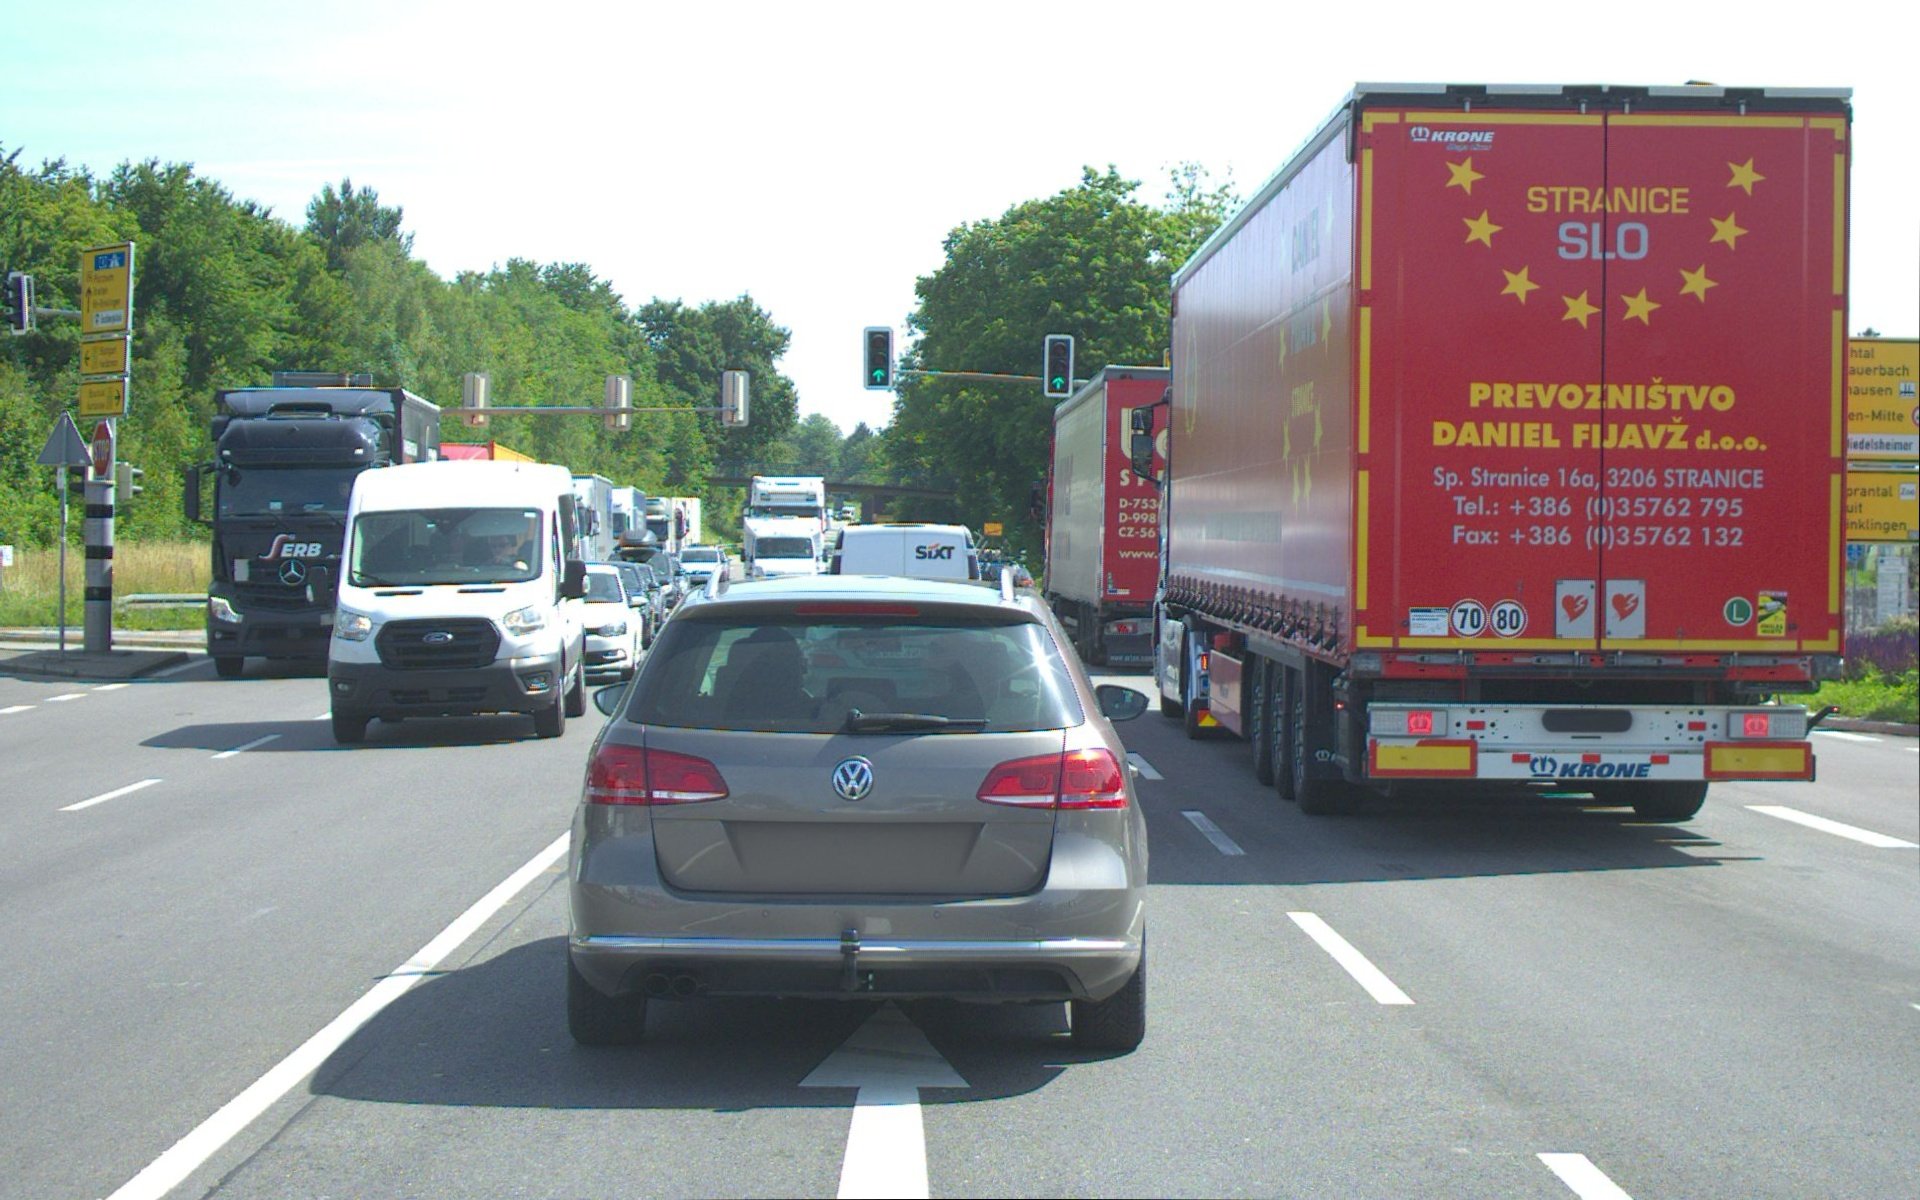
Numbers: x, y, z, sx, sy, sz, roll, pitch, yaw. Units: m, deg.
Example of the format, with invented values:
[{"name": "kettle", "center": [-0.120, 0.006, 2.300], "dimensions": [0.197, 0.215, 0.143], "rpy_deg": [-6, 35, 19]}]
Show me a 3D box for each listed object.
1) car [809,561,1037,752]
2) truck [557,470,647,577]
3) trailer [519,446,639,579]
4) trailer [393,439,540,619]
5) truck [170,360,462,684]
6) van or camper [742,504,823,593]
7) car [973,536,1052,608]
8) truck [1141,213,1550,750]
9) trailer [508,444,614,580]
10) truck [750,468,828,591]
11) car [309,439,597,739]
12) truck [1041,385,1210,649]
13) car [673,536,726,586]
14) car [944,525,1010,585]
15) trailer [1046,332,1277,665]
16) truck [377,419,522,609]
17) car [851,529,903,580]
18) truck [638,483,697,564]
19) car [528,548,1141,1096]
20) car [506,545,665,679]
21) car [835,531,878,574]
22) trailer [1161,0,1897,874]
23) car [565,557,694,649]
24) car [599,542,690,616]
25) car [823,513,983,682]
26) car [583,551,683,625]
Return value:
[{"name": "car", "center": [-0.379, 0.425, 29.322], "dimensions": [1.770, 1.508, 4.001], "rpy_deg": [0, 1, -3]}, {"name": "truck", "center": [-13.959, -2.975, 134.482], "dimensions": [3.187, 4.066, 6.347], "rpy_deg": [0, 1, -3]}, {"name": "trailer", "center": [-12.517, -2.811, 114.009], "dimensions": [2.691, 4.133, 13.881], "rpy_deg": [0, 1, -1]}, {"name": "trailer", "center": [-11.719, -1.669, 82.538], "dimensions": [2.720, 3.984, 12.237], "rpy_deg": [0, 1, -5]}, {"name": "truck", "center": [-8.655, -1.026, 47.355], "dimensions": [2.710, 3.984, 9.977], "rpy_deg": [0, 1, -3]}, {"name": "van or camper", "center": [-5.343, -1.564, 104.107], "dimensions": [2.330, 2.591, 6.979], "rpy_deg": [0, 1, -2]}, {"name": "car", "center": [1.488, -0.815, 98.912], "dimensions": [1.993, 2.007, 4.001], "rpy_deg": [0, 1, -3]}, {"name": "truck", "center": [3.288, -1.004, 30.896], "dimensions": [2.870, 4.266, 5.839], "rpy_deg": [2, 1, 0]}, {"name": "trailer", "center": [-12.379, -2.703, 107.095], "dimensions": [2.645, 4.091, 6.181], "rpy_deg": [0, 1, -1]}, {"name": "truck", "center": [-5.894, -2.393, 117.788], "dimensions": [2.536, 4.074, 6.267], "rpy_deg": [0, 1, -4]}, {"name": "car", "center": [-4.615, -0.143, 32.320], "dimensions": [2.058, 2.501, 7.115], "rpy_deg": [0, 1, -3]}, {"name": "truck", "center": [2.649, -1.334, 56.449], "dimensions": [2.406, 4.113, 5.521], "rpy_deg": [0, 1, -1]}, {"name": "car", "center": [-9.763, -1.487, 129.167], "dimensions": [1.843, 1.726, 4.589], "rpy_deg": [2, 1, -3]}, {"name": "car", "center": [0.563, -1.532, 116.578], "dimensions": [1.993, 2.007, 4.001], "rpy_deg": [0, 1, -3]}, {"name": "trailer", "center": [2.727, -1.382, 50.224], "dimensions": [2.395, 4.229, 13.079], "rpy_deg": [0, 1, -1]}, {"name": "truck", "center": [-11.100, -1.851, 75.162], "dimensions": [2.720, 3.984, 6.058], "rpy_deg": [0, 1, -5]}, {"name": "car", "center": [-3.328, -1.806, 137.221], "dimensions": [1.993, 2.007, 4.001], "rpy_deg": [0, 1, -3]}, {"name": "truck", "center": [-14.942, -3.883, 176.220], "dimensions": [2.728, 3.985, 9.621], "rpy_deg": [0, 1, -3]}, {"name": "car", "center": [-0.452, 0.583, 11.501], "dimensions": [1.691, 1.508, 4.001], "rpy_deg": [0, 1, -3]}, {"name": "car", "center": [-4.648, 0.118, 43.115], "dimensions": [1.653, 1.550, 4.000], "rpy_deg": [-2, 1, -2]}, {"name": "car", "center": [-5.006, -2.286, 165.702], "dimensions": [1.993, 2.007, 4.001], "rpy_deg": [0, 1, -3]}, {"name": "trailer", "center": [3.274, -0.923, 24.060], "dimensions": [2.839, 4.350, 13.168], "rpy_deg": [2, 1, 0]}, {"name": "car", "center": [-5.530, 0.019, 58.003], "dimensions": [1.711, 1.438, 4.379], "rpy_deg": [-2, 1, 0]}, {"name": "car", "center": [-7.322, -0.524, 80.083], "dimensions": [1.908, 1.596, 4.589], "rpy_deg": [-1, 2, -3]}, {"name": "car", "center": [-0.730, -0.058, 41.318], "dimensions": [1.770, 1.930, 3.978], "rpy_deg": [0, 1, -3]}, {"name": "car", "center": [-7.272, -0.293, 76.858], "dimensions": [1.861, 1.519, 4.589], "rpy_deg": [-1, 1, -1]}]
